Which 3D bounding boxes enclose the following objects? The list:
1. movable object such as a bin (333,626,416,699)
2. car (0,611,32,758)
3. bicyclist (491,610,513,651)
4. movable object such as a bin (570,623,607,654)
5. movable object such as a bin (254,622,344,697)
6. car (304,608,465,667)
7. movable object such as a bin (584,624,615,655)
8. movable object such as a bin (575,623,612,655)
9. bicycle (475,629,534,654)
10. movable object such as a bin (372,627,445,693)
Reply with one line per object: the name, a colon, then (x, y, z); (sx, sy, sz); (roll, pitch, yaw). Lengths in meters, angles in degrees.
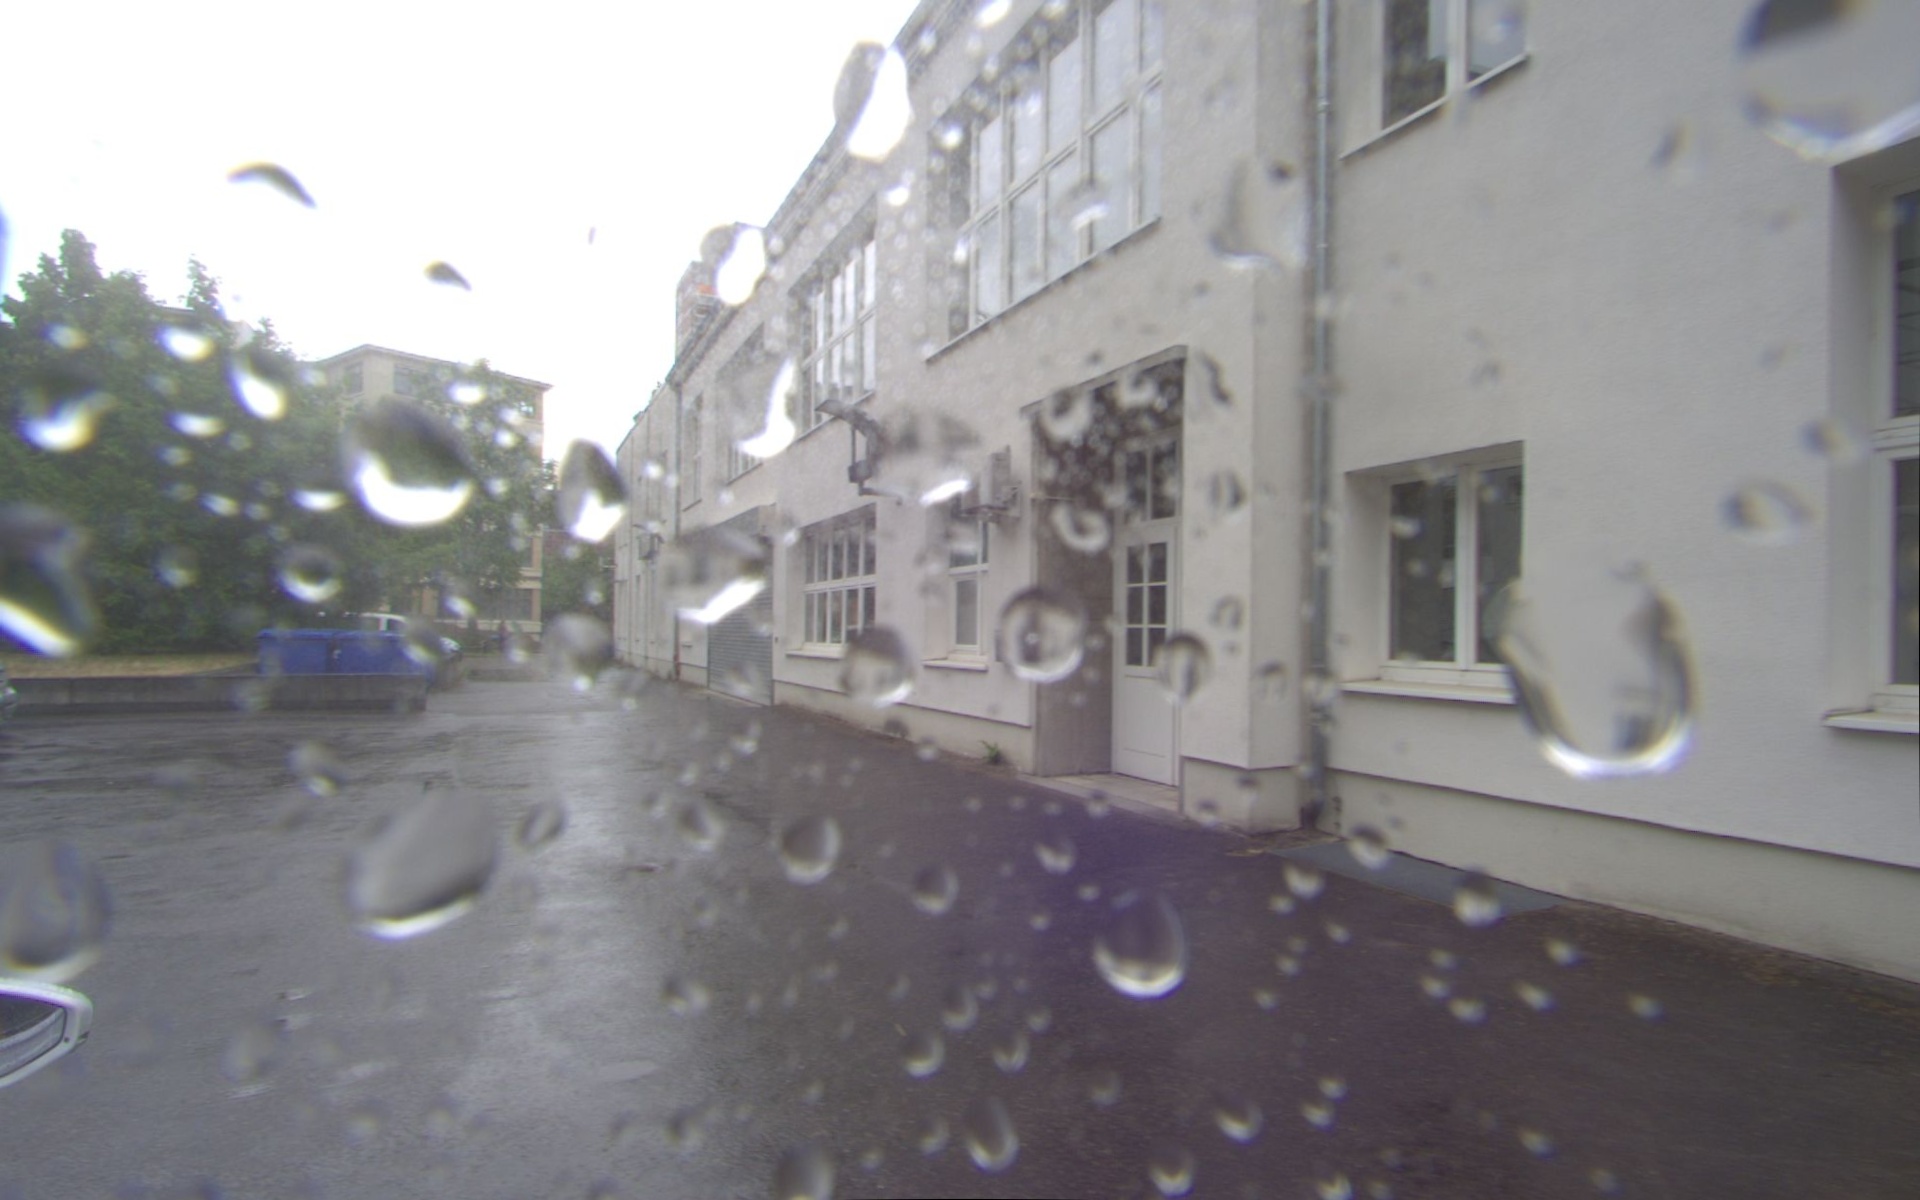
movable object such as a bin: (-11.771, 1.247, 20.217); (1.293, 1.375, 1.899); (0, -3, -26)
car: (-11.585, 0.814, 9.139); (4.160, 1.508, 1.991); (2, -2, -29)
bicyclist: (-23.119, 1.532, 50.557); (0.736, 2.040, 0.705); (1, 0, 35)
movable object such as a bin: (-18.225, 1.900, 49.125); (1.471, 1.466, 1.307); (0, -3, -31)
movable object such as a bin: (-12.931, 1.151, 19.667); (1.214, 1.375, 1.964); (0, -3, -26)
car: (-19.924, 1.314, 34.917); (4.622, 1.904, 2.118); (0, -4, -24)
movable object such as a bin: (-16.771, 1.844, 46.574); (1.171, 1.391, 1.307); (0, -3, -30)
movable object such as a bin: (-17.570, 1.859, 47.953); (1.471, 1.466, 1.307); (0, -3, -31)
bicycle: (-23.038, 2.071, 50.689); (0.727, 1.201, 2.724); (0, -1, 35)
movable object such as a bin: (-12.168, 1.310, 22.167); (1.293, 1.375, 1.899); (0, -3, -26)
